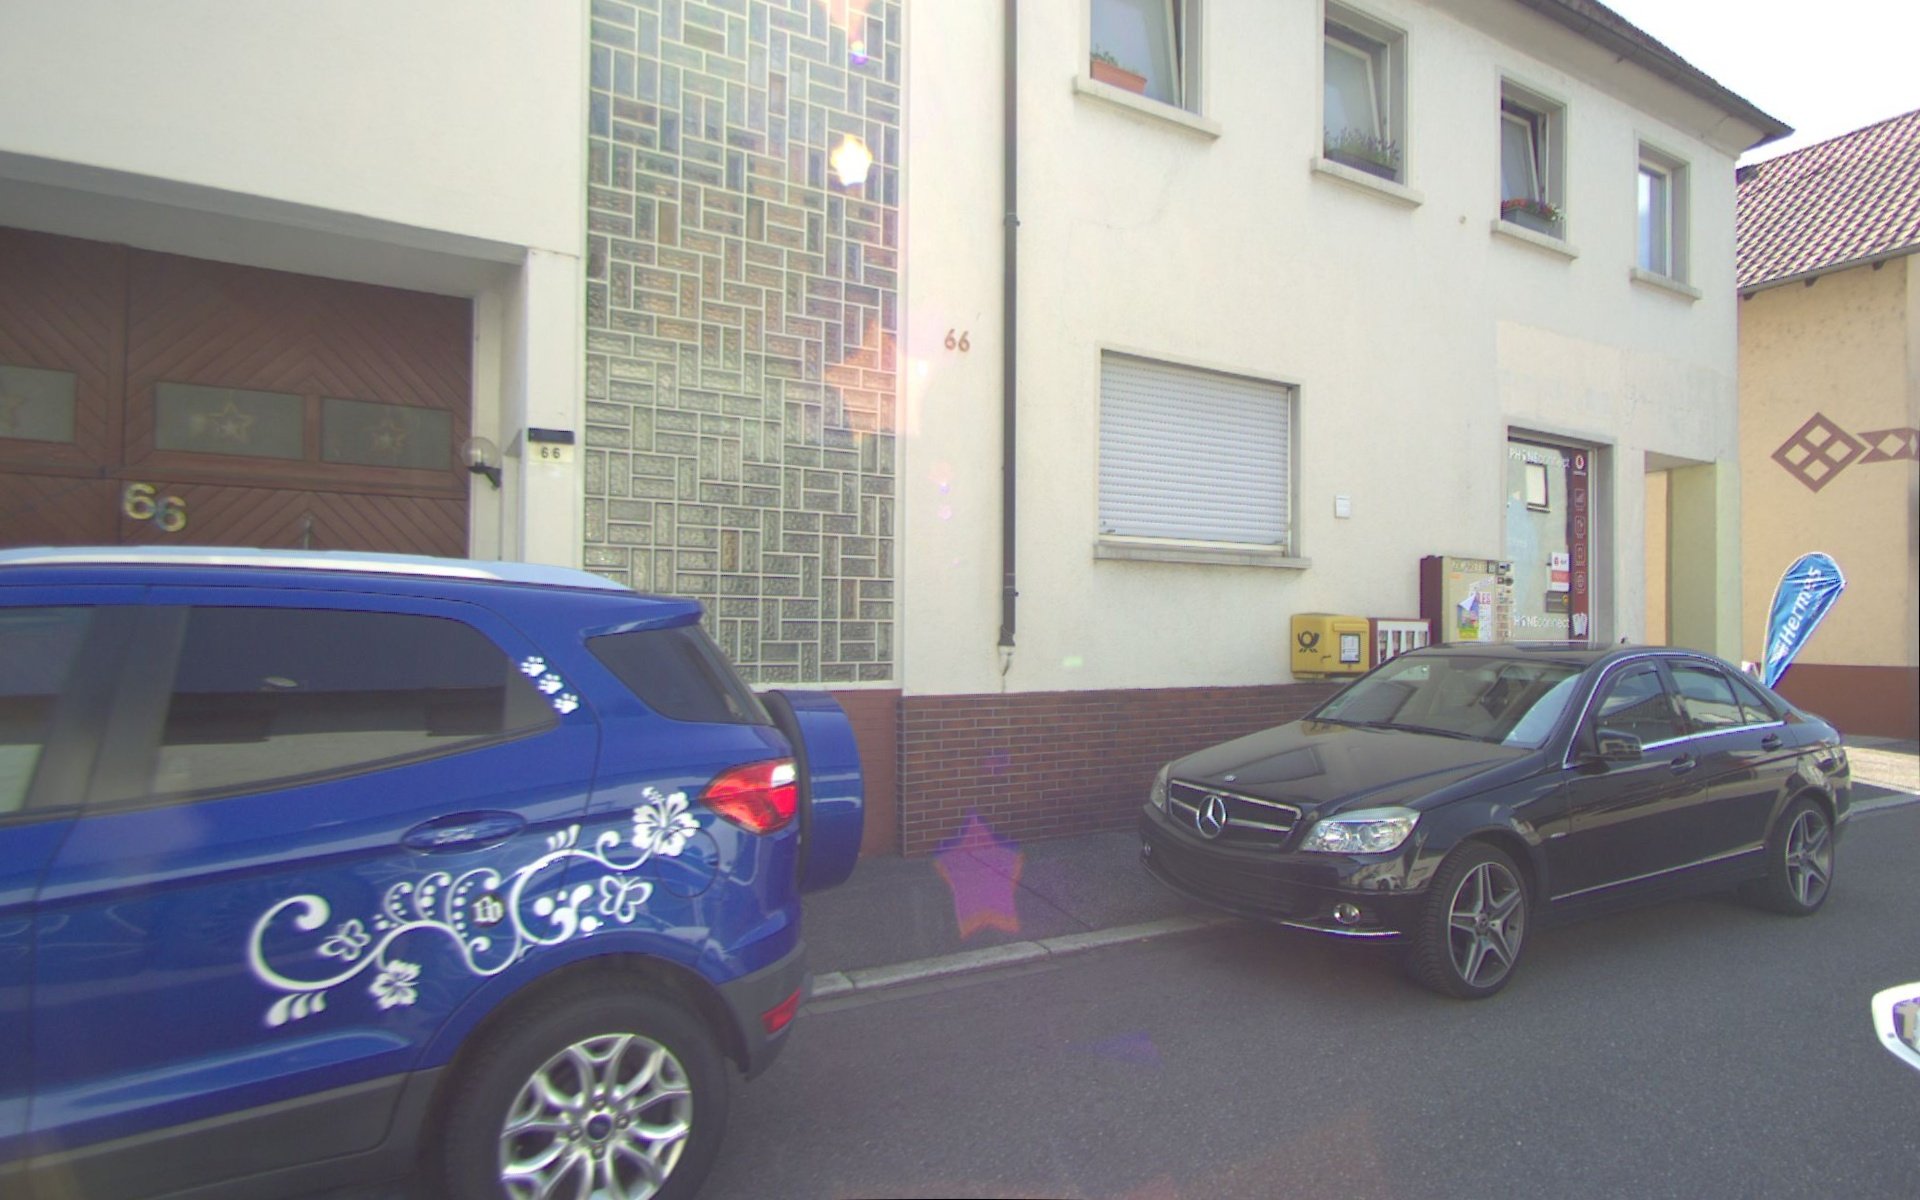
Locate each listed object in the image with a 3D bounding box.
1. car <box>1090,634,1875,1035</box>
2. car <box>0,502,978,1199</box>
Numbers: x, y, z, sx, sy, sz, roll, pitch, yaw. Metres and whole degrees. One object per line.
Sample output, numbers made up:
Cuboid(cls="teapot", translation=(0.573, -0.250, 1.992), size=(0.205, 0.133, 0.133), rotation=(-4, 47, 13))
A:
Cuboid(cls="car", translation=(2.964, 0.925, 5.462), size=(4.336, 1.430, 1.690), rotation=(1, -1, -29))
Cuboid(cls="car", translation=(-2.140, 0.693, 2.550), size=(4.100, 1.661, 1.709), rotation=(1, -3, -30))
